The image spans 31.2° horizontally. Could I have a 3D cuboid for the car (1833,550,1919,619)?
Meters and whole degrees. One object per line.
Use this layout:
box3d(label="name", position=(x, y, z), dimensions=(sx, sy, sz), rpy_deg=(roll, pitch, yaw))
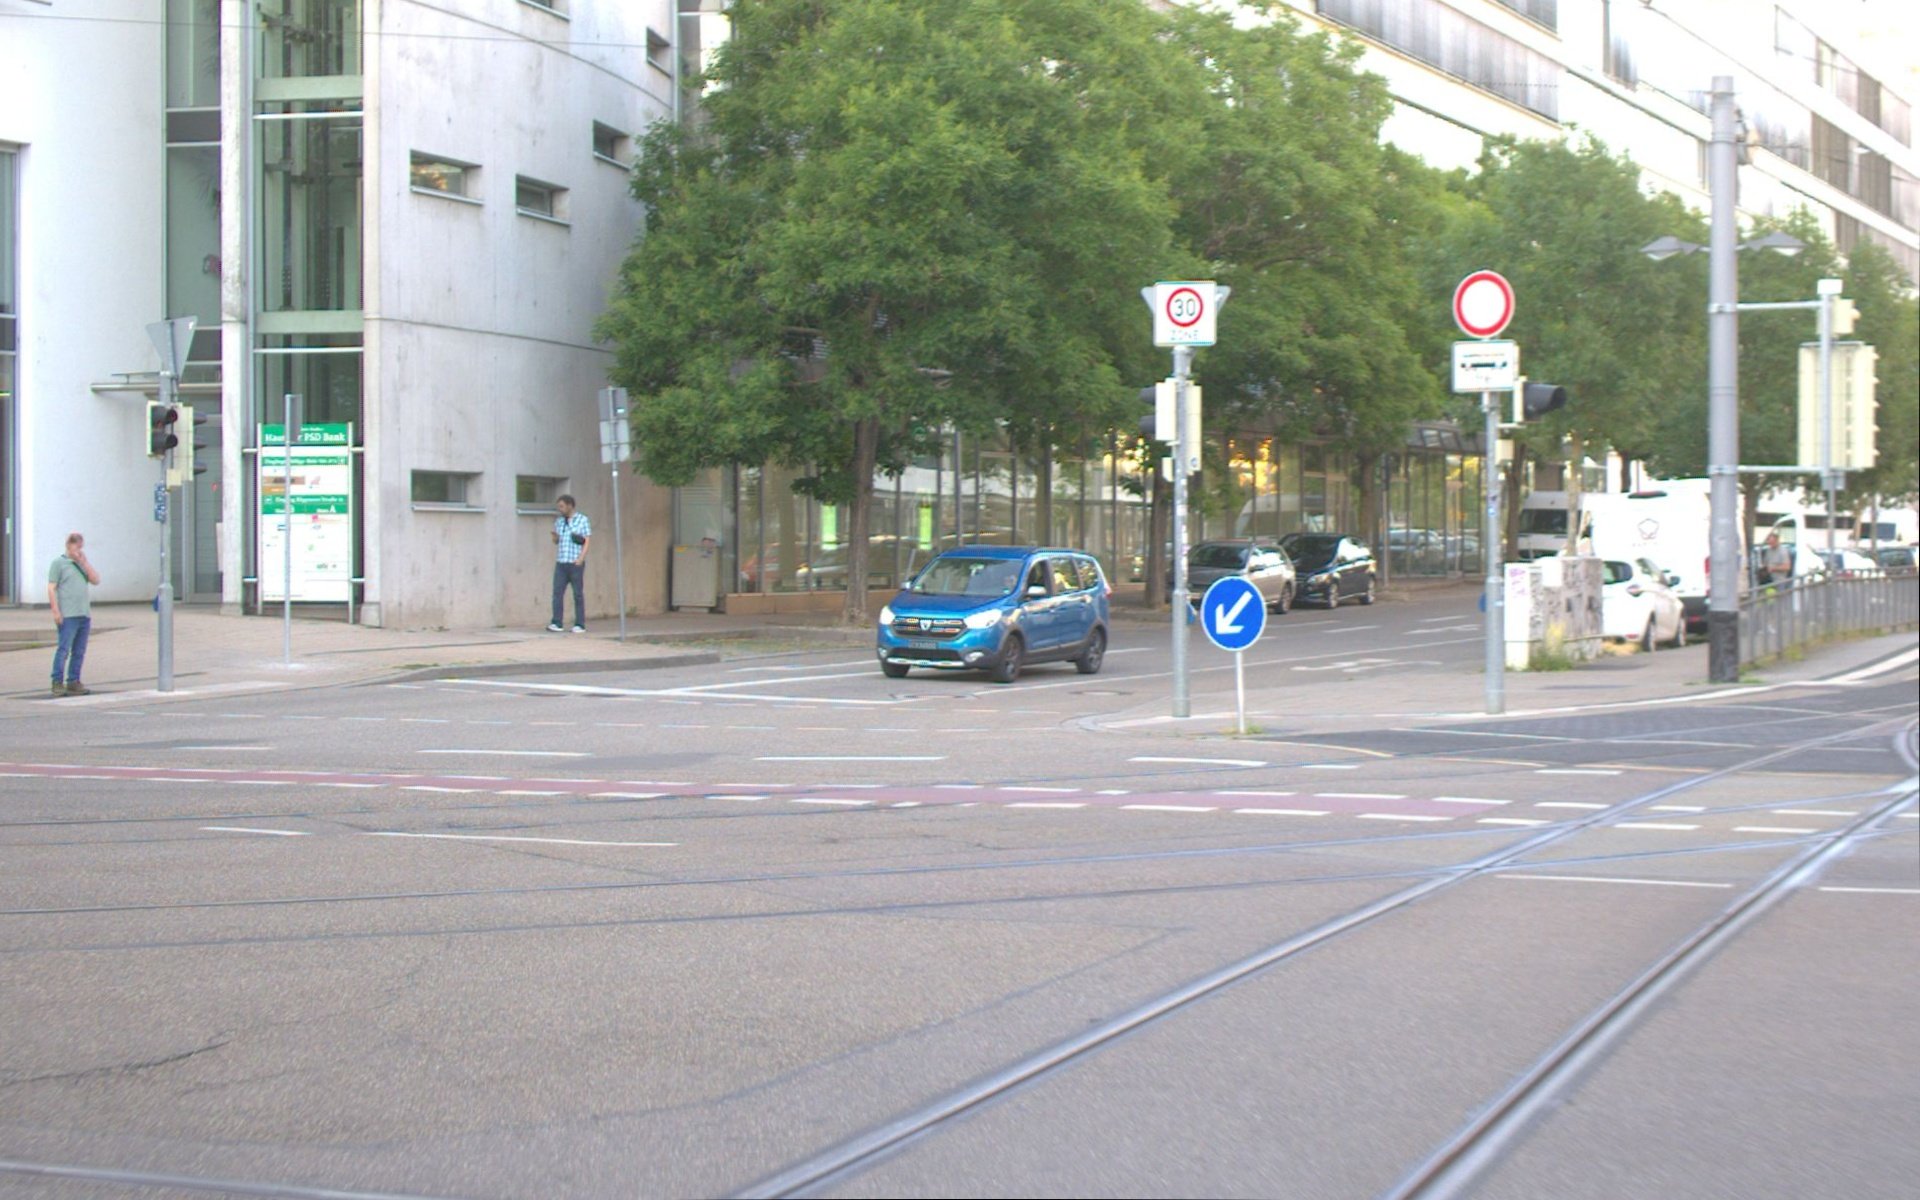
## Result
box3d(label="car", position=(20.088, -0.353, 74.363), dimensions=(1.685, 1.434, 4.121), rpy_deg=(1, 1, 24))

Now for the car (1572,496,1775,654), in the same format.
box3d(label="car", position=(11.866, -0.448, 56.855), dimensions=(2.463, 2.474, 5.802), rpy_deg=(1, 1, 20))

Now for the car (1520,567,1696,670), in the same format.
box3d(label="car", position=(9.738, 0.238, 51.445), dimensions=(1.685, 1.434, 4.121), rpy_deg=(1, 1, 24))

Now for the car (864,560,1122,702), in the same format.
box3d(label="car", position=(0.478, 0.348, 44.171), dimensions=(1.685, 1.694, 4.233), rpy_deg=(1, 1, 26))

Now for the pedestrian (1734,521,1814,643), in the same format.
box3d(label="pedestrian", position=(13.535, -0.307, 57.199), dimensions=(1.039, 2.023, 0.984), rpy_deg=(0, 1, -4))

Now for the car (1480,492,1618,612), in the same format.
box3d(label="car", position=(16.098, -1.327, 93.728), dimensions=(2.204, 3.141, 6.135), rpy_deg=(1, 1, 24))

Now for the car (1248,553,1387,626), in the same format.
box3d(label="car", position=(7.697, -0.253, 73.722), dimensions=(1.685, 1.496, 4.234), rpy_deg=(1, 1, 25))

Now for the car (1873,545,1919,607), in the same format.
box3d(label="car", position=(22.970, -0.584, 81.955), dimensions=(1.685, 1.434, 4.121), rpy_deg=(1, 1, 24))

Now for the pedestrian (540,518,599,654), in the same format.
box3d(label="pedestrian", position=(-5.547, -0.204, 48.848), dimensions=(0.662, 1.916, 0.548), rpy_deg=(0, 1, 13))

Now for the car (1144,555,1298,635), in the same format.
box3d(label="car", position=(5.219, -0.120, 68.162), dimensions=(1.685, 1.496, 4.234), rpy_deg=(1, 1, 25))

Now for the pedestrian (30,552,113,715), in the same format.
box3d(label="pedestrian", position=(-9.445, 0.345, 36.563), dimensions=(0.547, 1.705, 0.658), rpy_deg=(1, 1, 34))
